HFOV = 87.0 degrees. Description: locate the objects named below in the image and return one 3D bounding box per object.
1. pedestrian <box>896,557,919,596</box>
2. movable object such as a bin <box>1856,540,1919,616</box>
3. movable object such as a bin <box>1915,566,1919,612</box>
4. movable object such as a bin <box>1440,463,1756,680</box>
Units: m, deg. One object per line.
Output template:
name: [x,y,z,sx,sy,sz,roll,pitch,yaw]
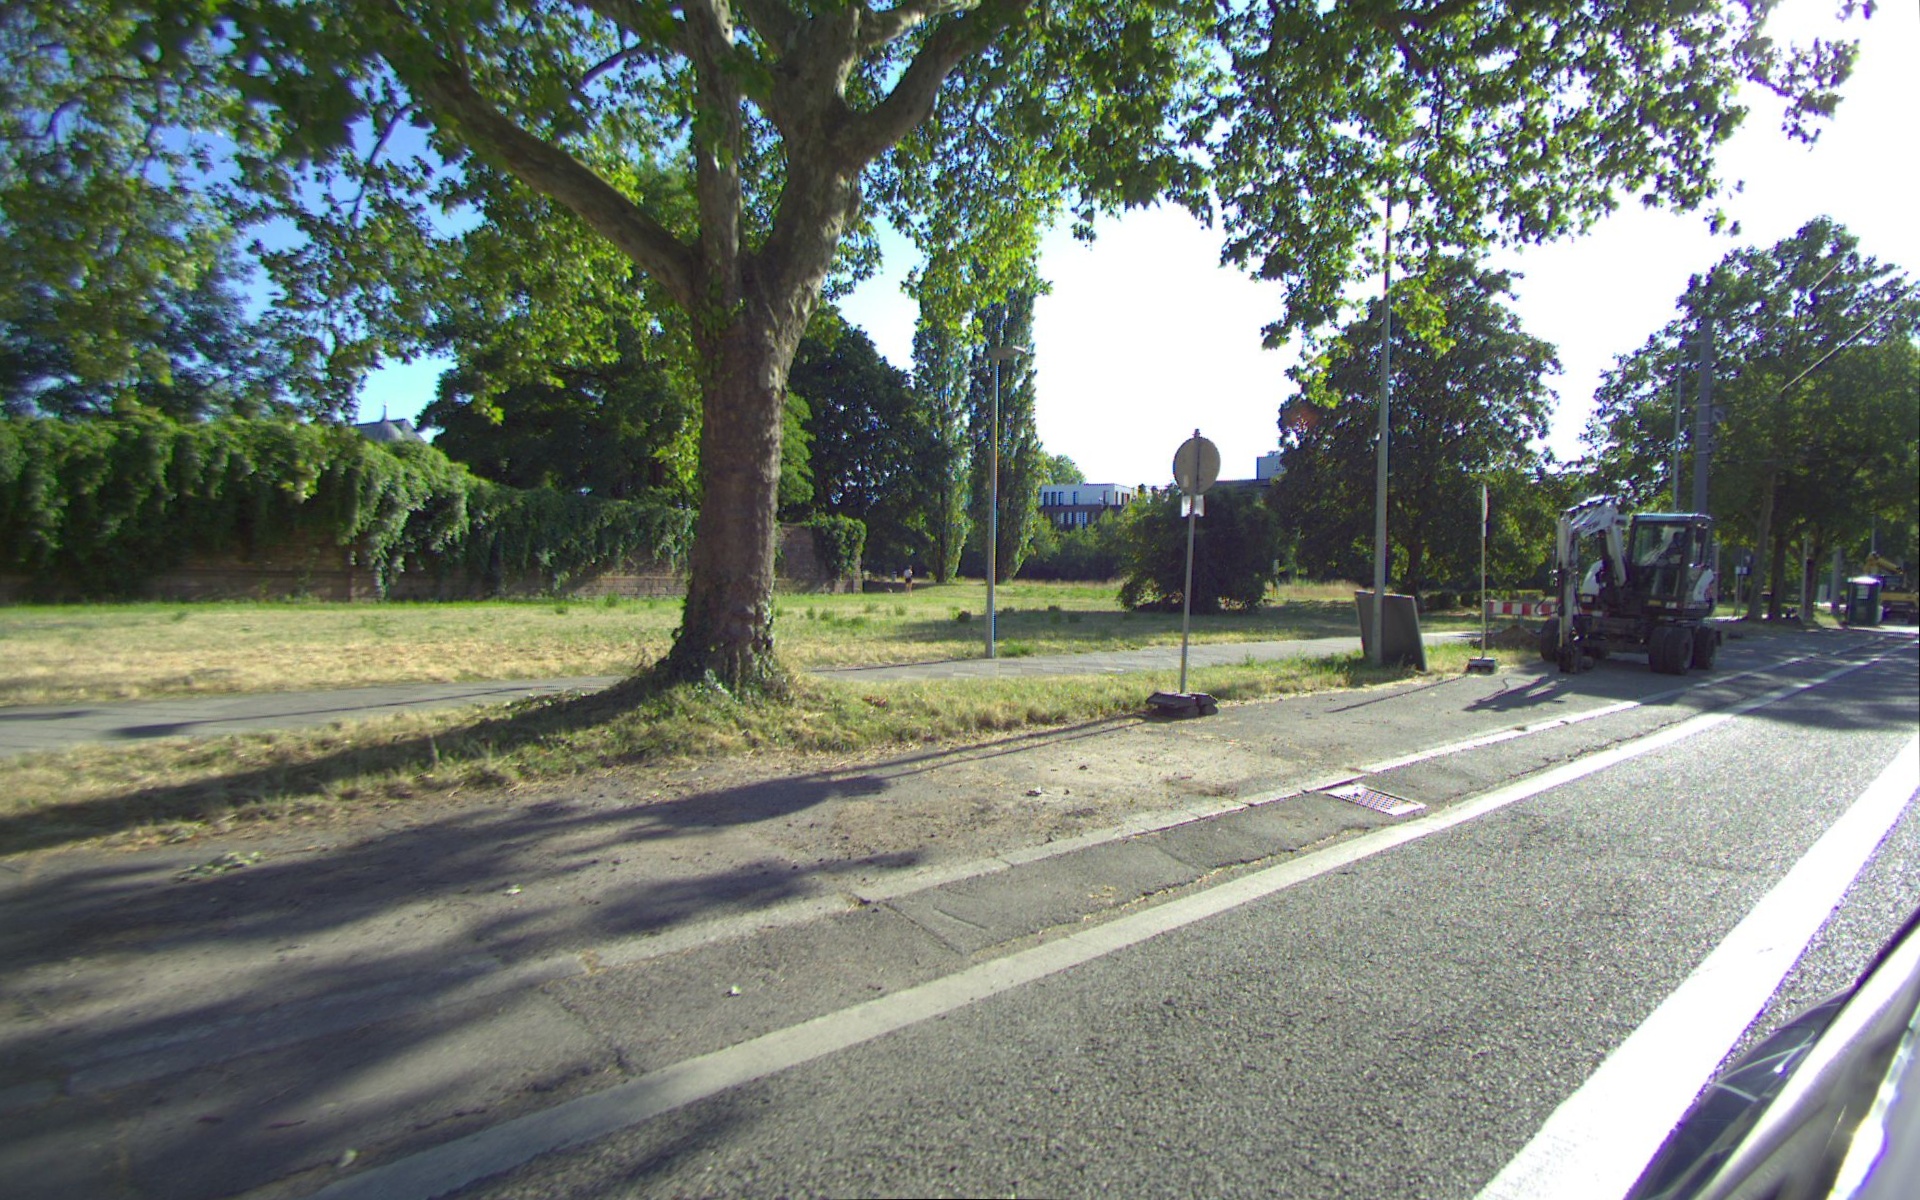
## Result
pedestrian: [-2.753,-1.222,53.136,0.855,2.039,1.263,-1,0,16]
movable object such as a bin: [54.321,-1.265,58.271,7.474,4.023,3.343,0,5,-45]
movable object such as a bin: [69.312,-1.447,70.883,7.474,4.665,2.918,0,5,-45]
movable object such as a bin: [11.687,-0.532,18.239,7.094,3.183,2.751,0,5,-42]
